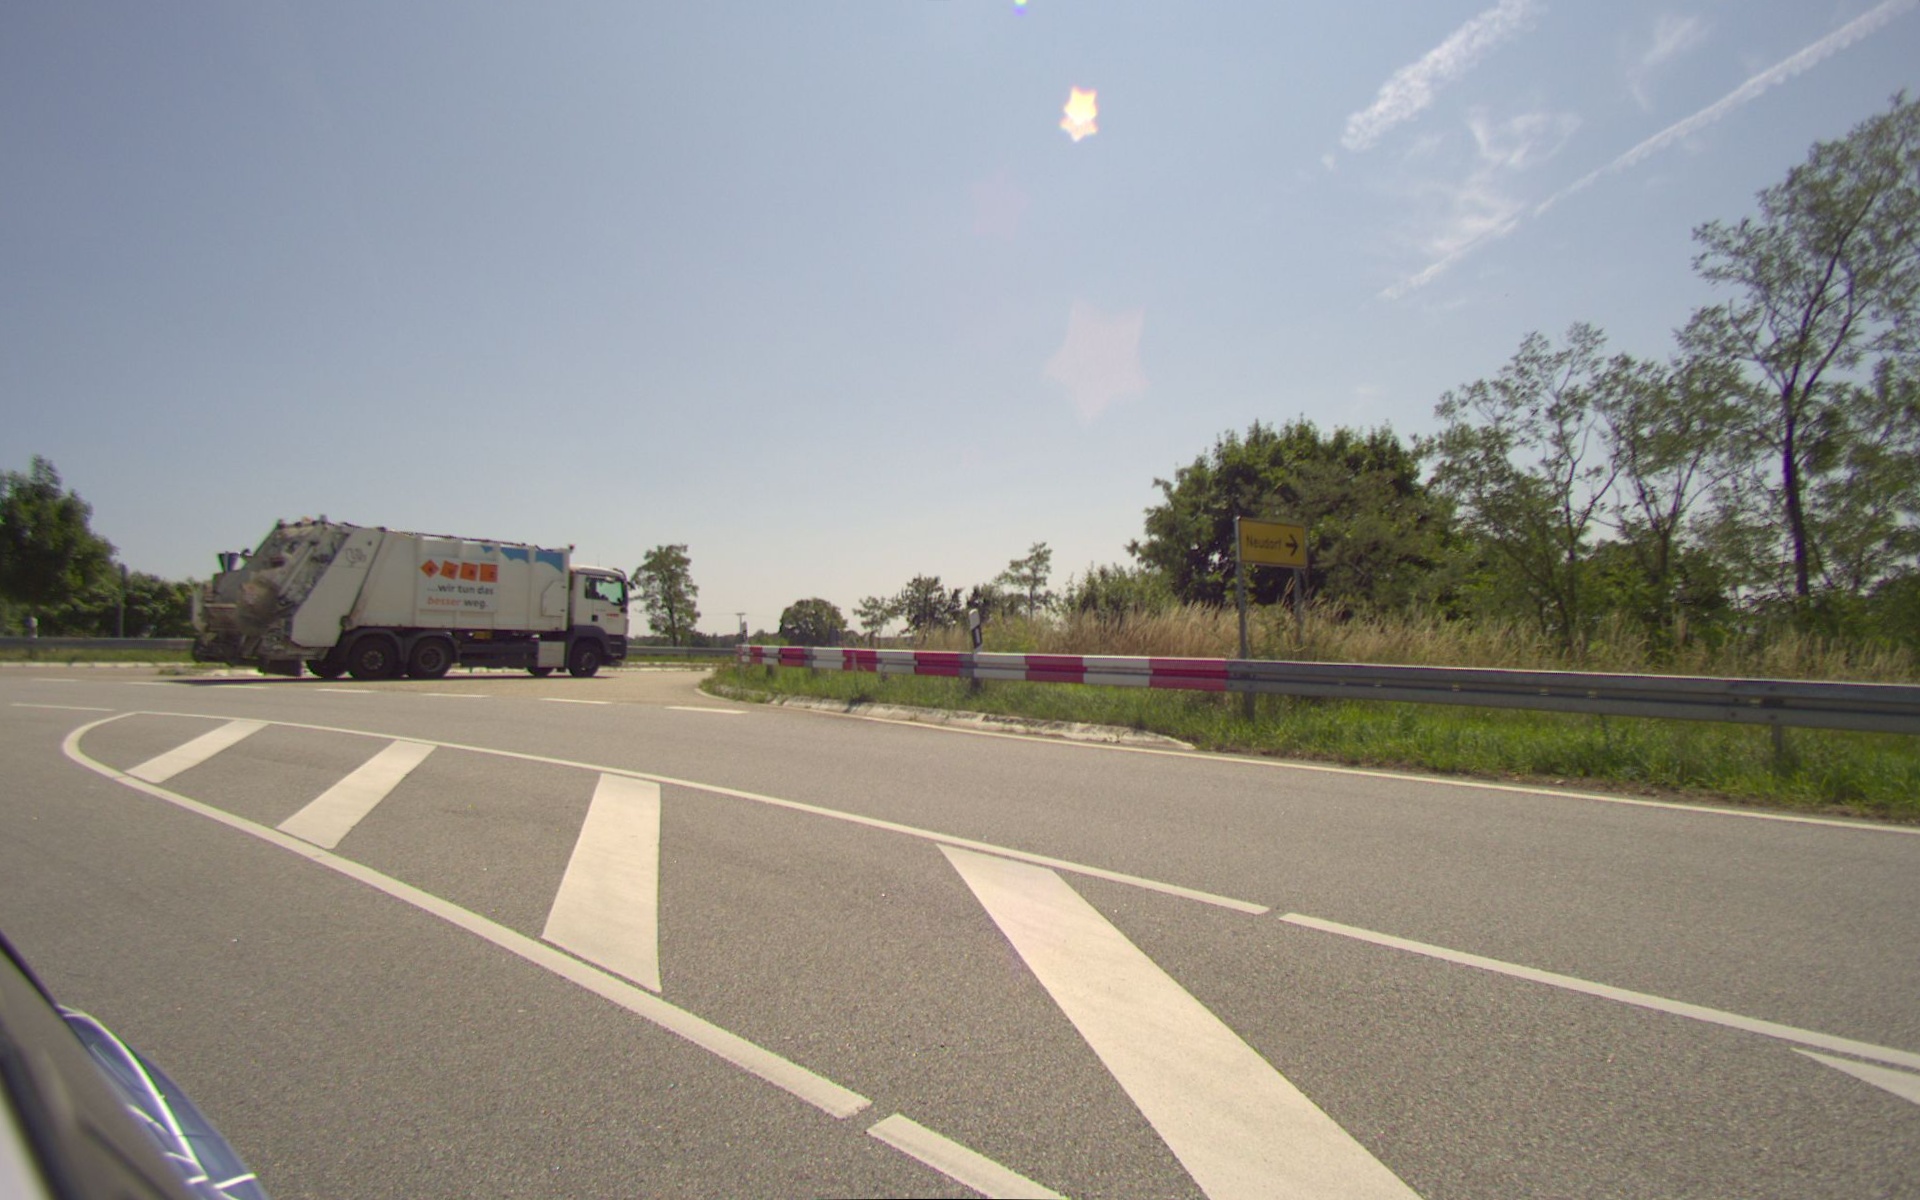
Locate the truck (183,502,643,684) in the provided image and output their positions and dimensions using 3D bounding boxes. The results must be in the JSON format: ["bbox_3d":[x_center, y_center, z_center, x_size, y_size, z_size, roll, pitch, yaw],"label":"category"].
[{"bbox_3d":[-12.971,0.041,25.296,2.818,3.697,9.820,-2,-3,38],"label":"truck"}]
